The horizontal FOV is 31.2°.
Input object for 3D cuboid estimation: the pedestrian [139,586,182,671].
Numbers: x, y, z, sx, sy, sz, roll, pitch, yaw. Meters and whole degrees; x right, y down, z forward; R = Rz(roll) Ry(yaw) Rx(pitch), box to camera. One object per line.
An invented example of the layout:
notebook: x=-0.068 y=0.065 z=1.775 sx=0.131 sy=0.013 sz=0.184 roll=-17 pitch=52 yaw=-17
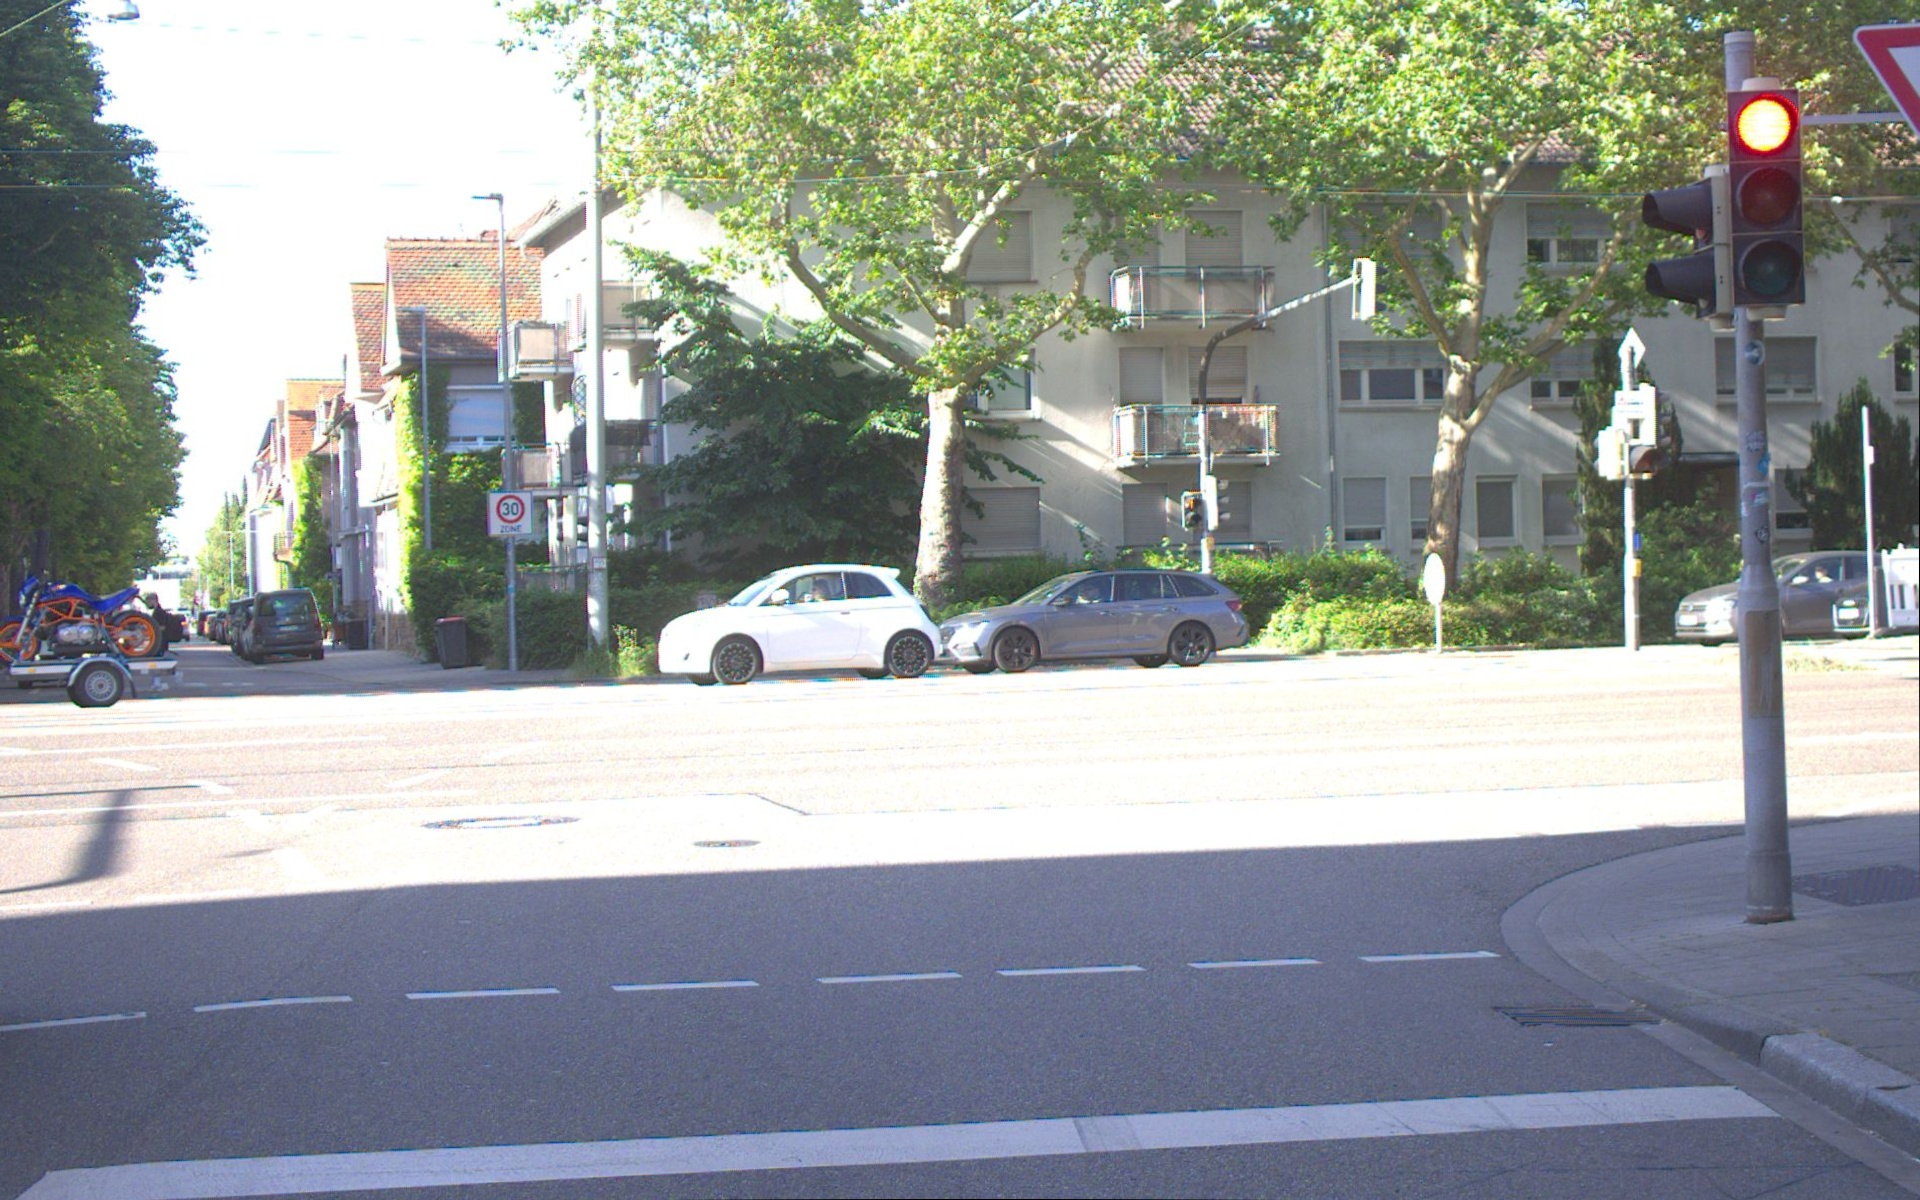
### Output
pedestrian: x=-13.677 y=0.490 z=58.826 sx=0.703 sy=1.437 sz=0.490 roll=1 pitch=0 yaw=-12

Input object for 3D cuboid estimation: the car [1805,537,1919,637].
car: x=14.672 y=-0.229 z=50.343 sx=4.266 sy=1.395 sz=1.646 roll=-1 pitch=1 yaw=-21

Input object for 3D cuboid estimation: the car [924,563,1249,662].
car: x=1.825 y=0.166 z=49.809 sx=4.385 sy=1.312 sz=1.646 roll=-1 pitch=1 yaw=-20

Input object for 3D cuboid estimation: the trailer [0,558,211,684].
trailer: x=-10.753 y=0.242 z=41.974 sx=2.946 sy=1.452 sz=1.515 roll=-1 pitch=1 yaw=-19

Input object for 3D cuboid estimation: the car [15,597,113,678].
car: x=-18.322 y=0.741 z=70.399 sx=1.698 sy=1.478 sz=3.535 roll=-3 pitch=1 yaw=-12

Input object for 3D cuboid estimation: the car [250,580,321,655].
car: x=-18.557 y=0.467 z=94.524 sx=1.772 sy=1.912 sz=3.535 roll=-3 pitch=1 yaw=-12

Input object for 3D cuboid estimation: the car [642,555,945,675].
car: x=-2.172 y=0.181 z=44.766 sx=3.630 sy=1.452 sz=1.503 roll=-1 pitch=1 yaw=-20

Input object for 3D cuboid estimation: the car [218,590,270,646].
car: x=-26.702 y=0.664 z=128.153 sx=1.772 sy=1.912 sz=3.535 roll=-3 pitch=1 yaw=-12

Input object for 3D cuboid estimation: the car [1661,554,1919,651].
car: x=12.893 y=0.025 z=53.017 sx=3.780 sy=1.395 sz=1.646 roll=-1 pitch=1 yaw=-21
